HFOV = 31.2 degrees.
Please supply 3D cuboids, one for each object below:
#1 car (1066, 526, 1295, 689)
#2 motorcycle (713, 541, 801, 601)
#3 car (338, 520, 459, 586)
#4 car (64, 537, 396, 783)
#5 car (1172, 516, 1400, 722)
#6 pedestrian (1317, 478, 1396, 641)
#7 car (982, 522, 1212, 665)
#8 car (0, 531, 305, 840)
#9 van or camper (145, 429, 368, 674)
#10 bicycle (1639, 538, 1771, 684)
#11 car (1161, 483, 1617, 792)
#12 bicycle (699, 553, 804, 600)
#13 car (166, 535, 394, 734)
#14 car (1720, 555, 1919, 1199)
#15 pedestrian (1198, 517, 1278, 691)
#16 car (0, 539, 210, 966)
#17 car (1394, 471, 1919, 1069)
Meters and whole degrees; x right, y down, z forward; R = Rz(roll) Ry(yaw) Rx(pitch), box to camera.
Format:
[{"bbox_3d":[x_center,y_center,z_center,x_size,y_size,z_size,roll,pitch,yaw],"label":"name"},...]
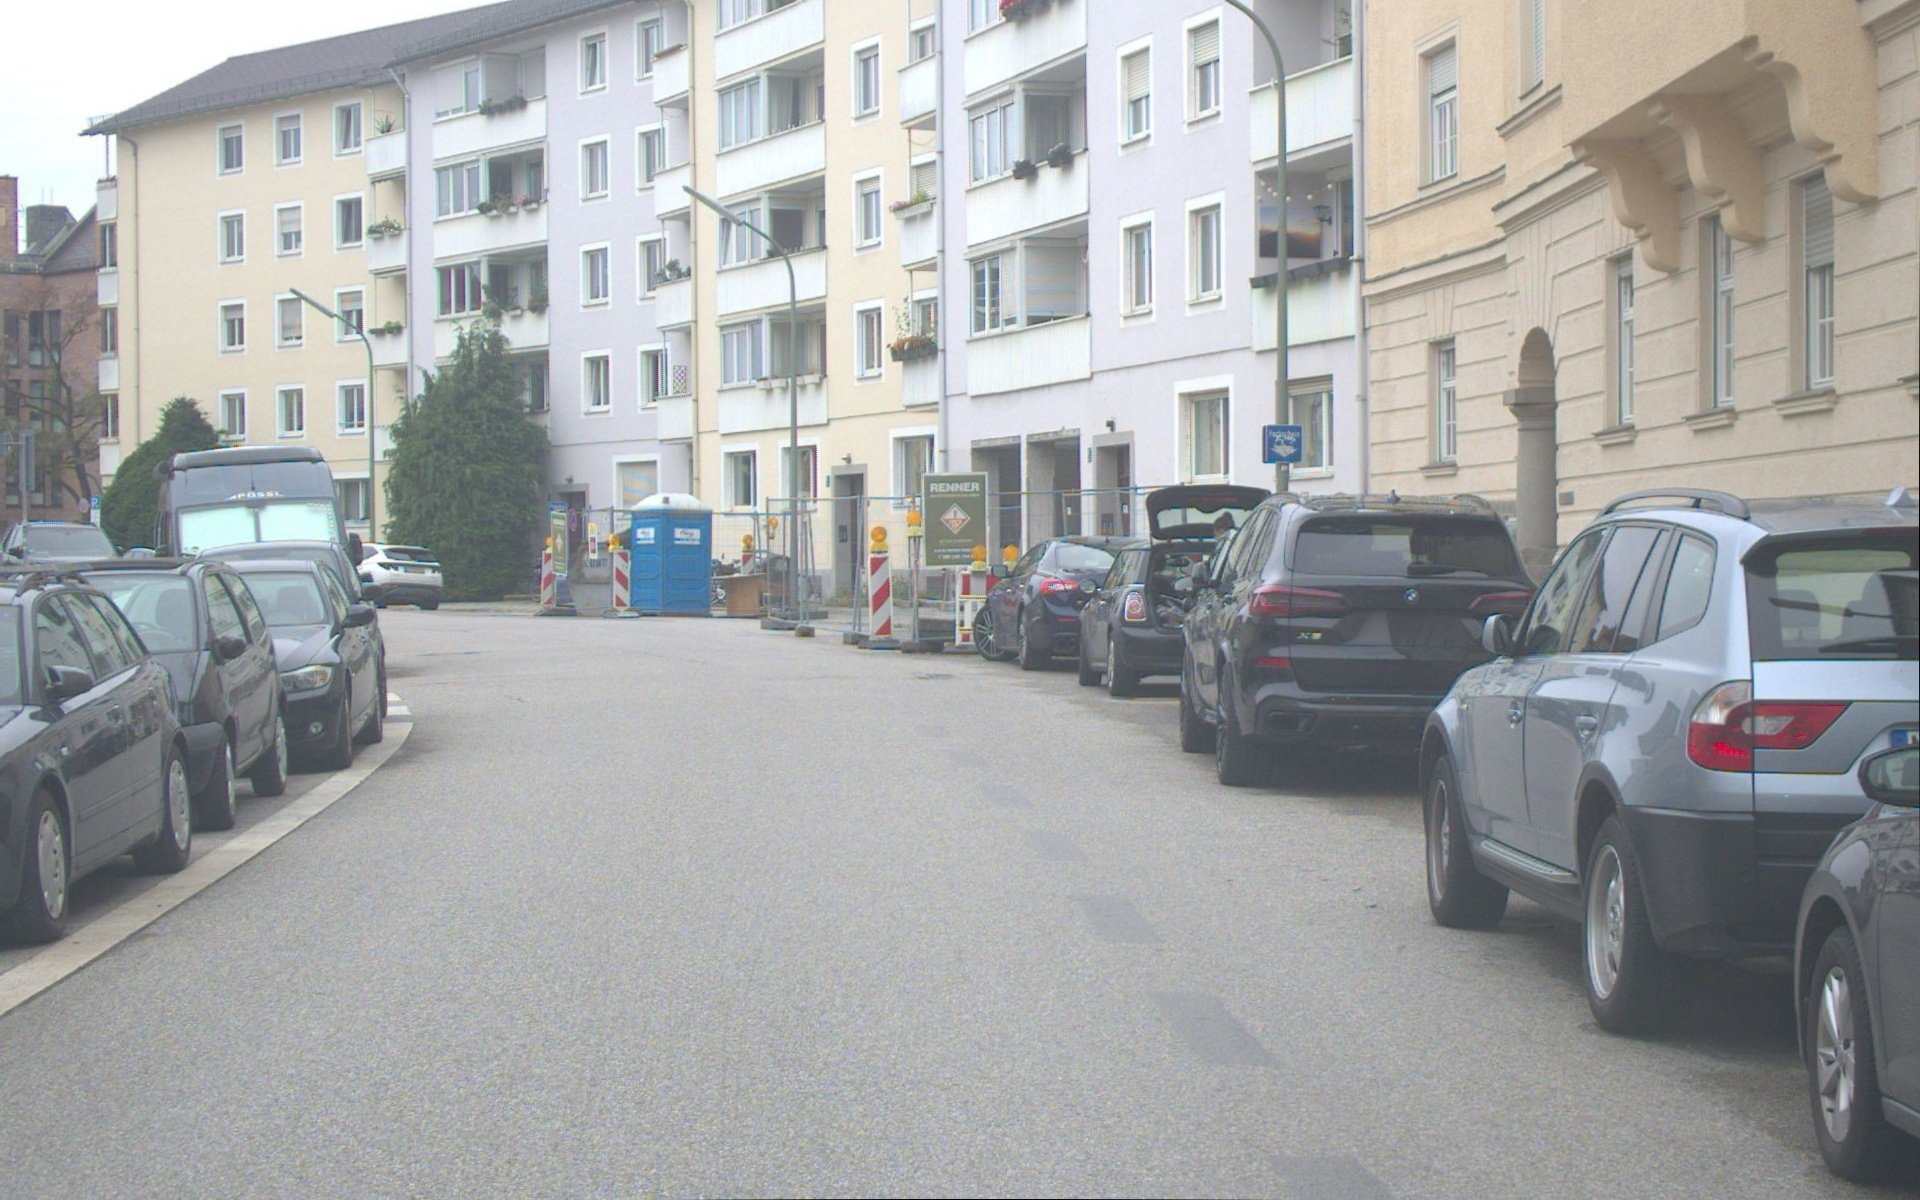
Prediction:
[{"bbox_3d":[2.003,0.031,32.189,1.630,1.412,3.680,0,1,-4],"label":"car"},{"bbox_3d":[-4.186,-0.606,70.734,0.931,1.217,2.508,0,1,-25],"label":"motorcycle"},{"bbox_3d":[-13.783,-1.148,84.249,1.830,1.568,4.001,0,1,-26],"label":"car"},{"bbox_3d":[-5.016,0.338,24.152,1.773,1.460,4.467,-3,2,-6],"label":"car"},{"bbox_3d":[2.566,0.108,27.592,1.514,1.549,3.019,1,1,0],"label":"car"},{"bbox_3d":[4.244,-0.435,36.847,0.617,1.684,0.919,-4,1,-1],"label":"pedestrian"},{"bbox_3d":[1.455,-0.120,38.447,1.908,1.472,4.947,0,1,-5],"label":"car"},{"bbox_3d":[-4.724,0.408,19.044,1.630,1.489,3.604,-3,1,-3],"label":"car"},{"bbox_3d":[-8.105,-0.593,39.291,2.296,2.572,6.088,0,2,-13],"label":"van or camper"},{"bbox_3d":[5.725,0.064,26.521,0.502,1.045,2.138,-3,1,0],"label":"bicycle"},{"bbox_3d":[2.577,0.148,21.985,2.169,1.733,5.024,1,1,-1],"label":"car"},{"bbox_3d":[-4.770,-0.546,78.749,2.232,1.066,0.920,0,1,-25],"label":"bicycle"},{"bbox_3d":[-5.506,0.240,28.112,1.519,1.460,2.887,-3,2,-6],"label":"car"},{"bbox_3d":[2.933,0.667,6.868,1.827,1.445,4.084,1,1,-1],"label":"car"},{"bbox_3d":[2.465,0.027,30.476,0.628,1.523,0.578,0,1,-2],"label":"pedestrian"},{"bbox_3d":[-4.316,0.542,14.286,1.630,1.489,4.276,-3,2,-3],"label":"car"},{"bbox_3d":[2.797,0.427,11.808,1.846,1.658,4.499,0,1,-3],"label":"car"}]
